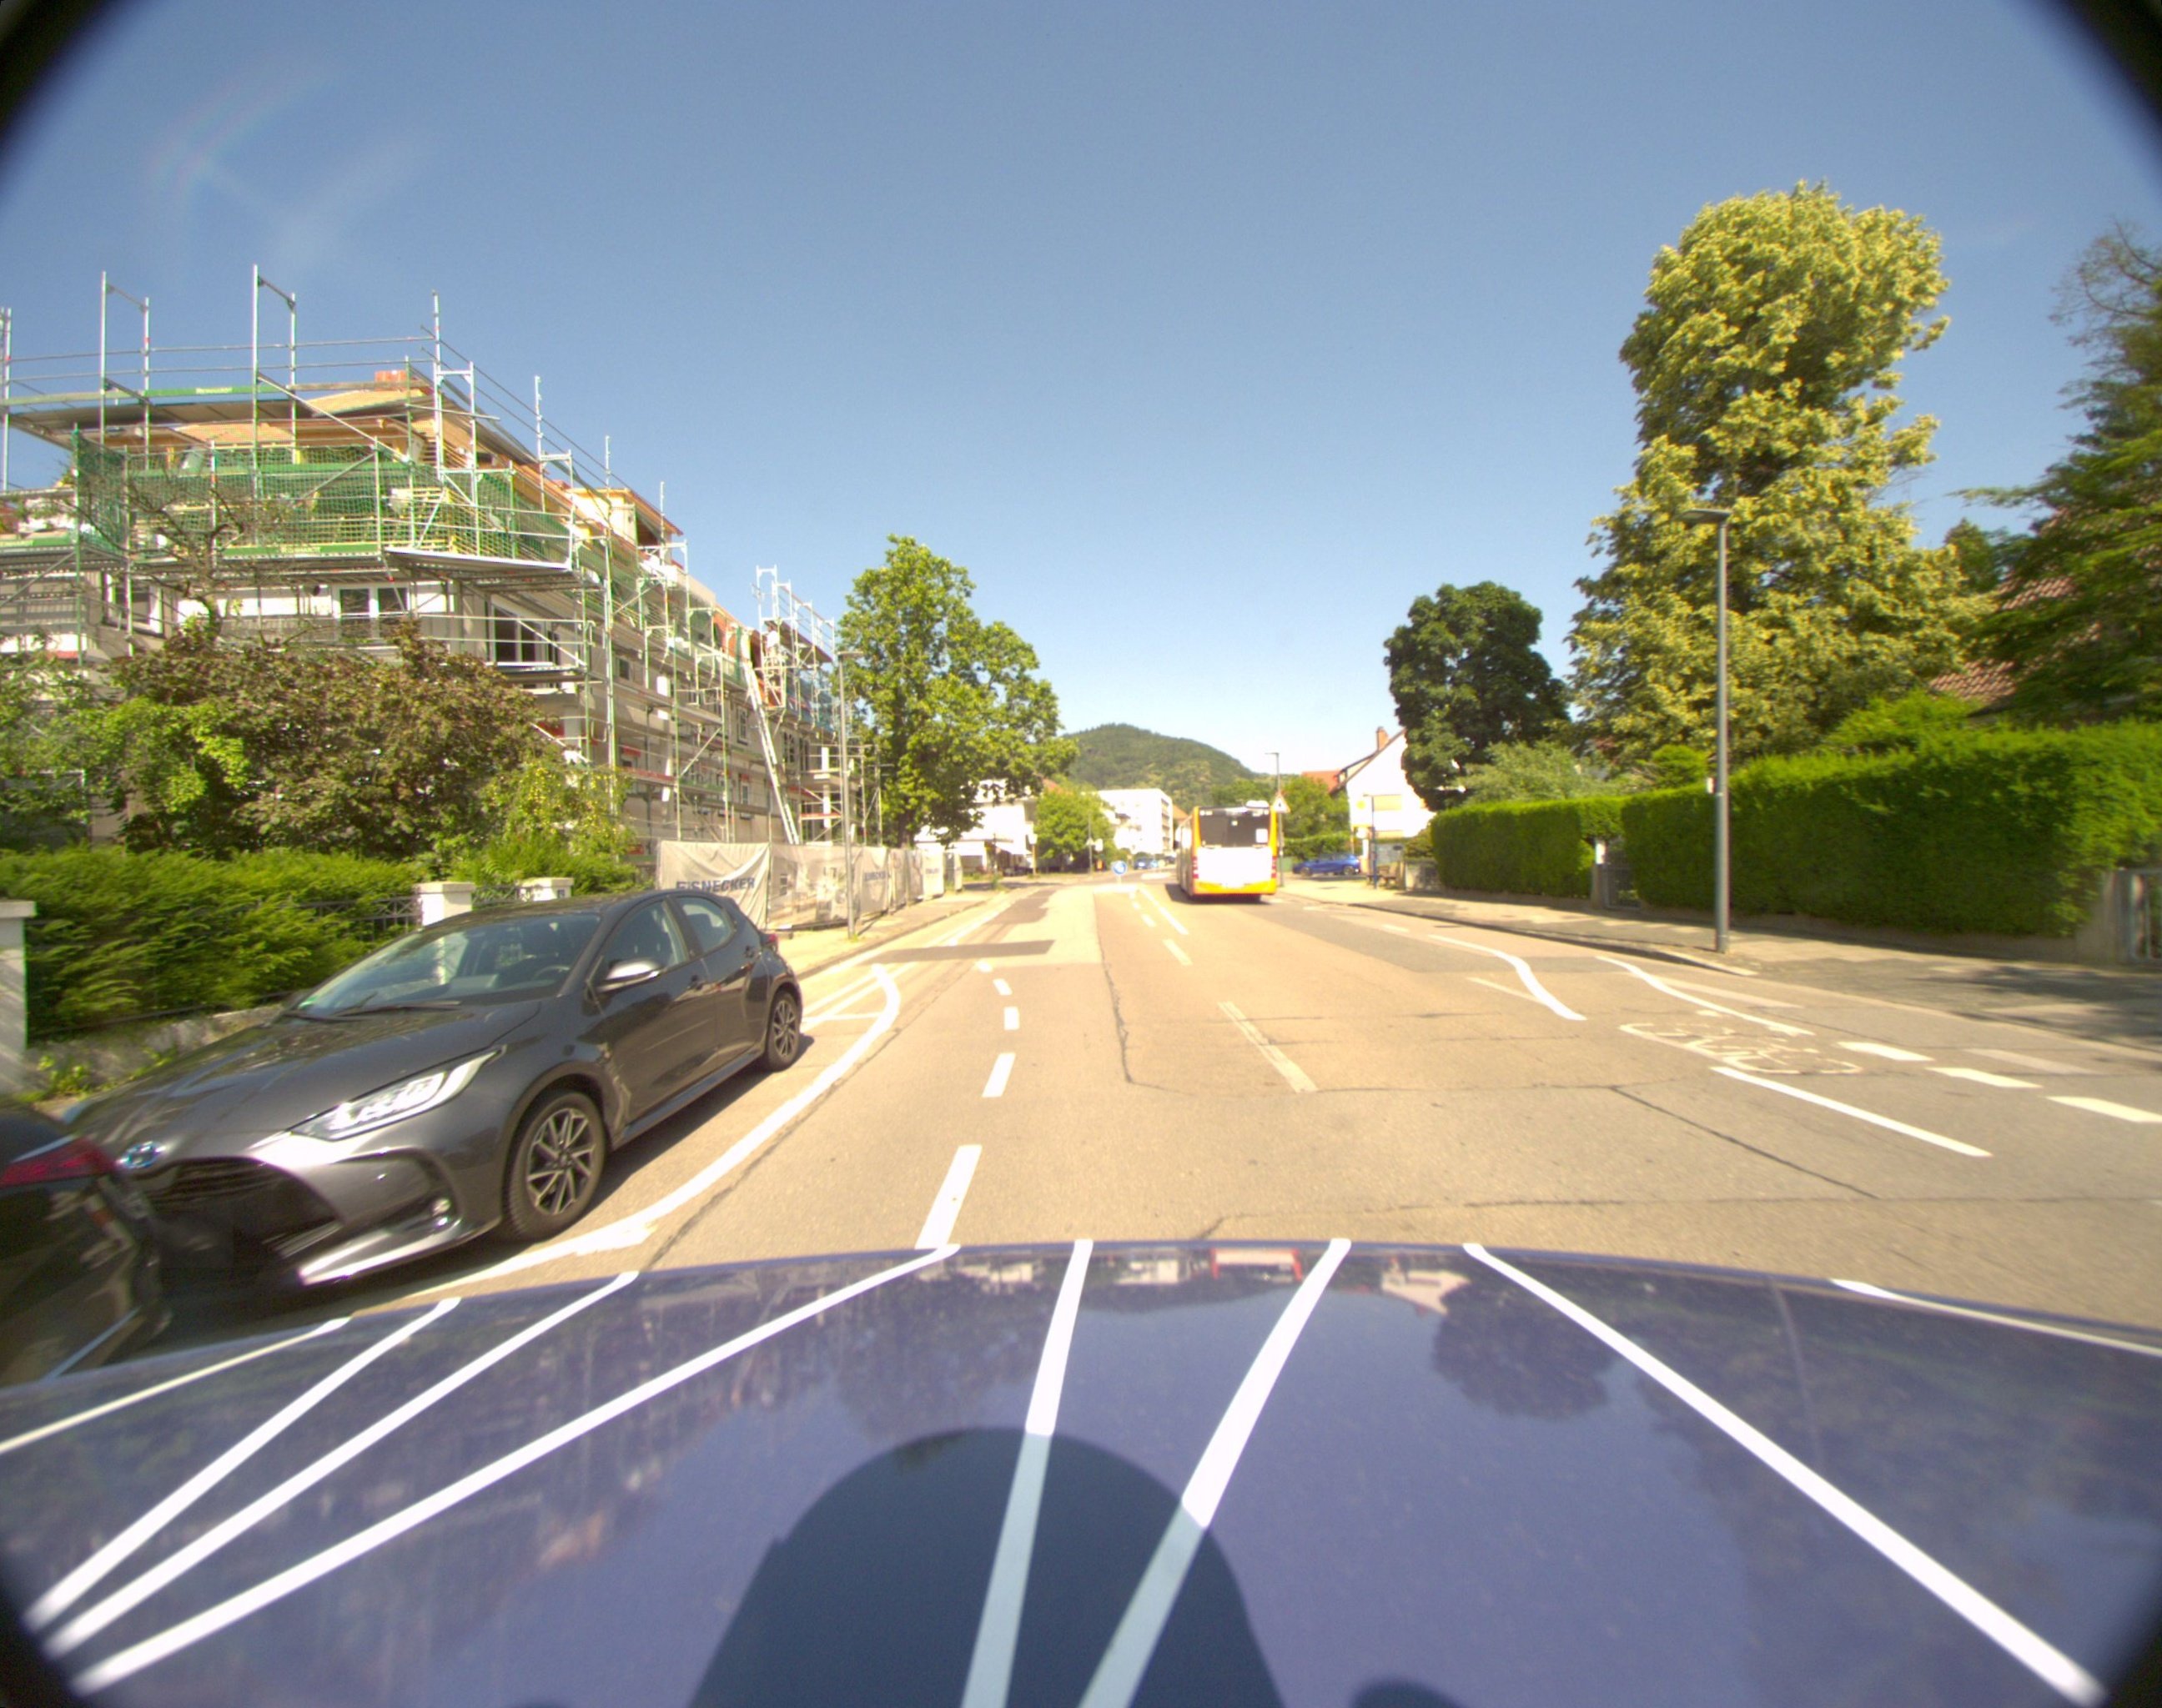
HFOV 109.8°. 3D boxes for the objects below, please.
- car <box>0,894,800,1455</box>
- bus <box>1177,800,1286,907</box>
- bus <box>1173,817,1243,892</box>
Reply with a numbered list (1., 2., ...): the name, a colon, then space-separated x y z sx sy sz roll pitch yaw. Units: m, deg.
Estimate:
1. car: -3.163 1.119 4.245 1.662 1.467 3.787 -5 0 0
2. bus: 5.085 0.001 27.503 2.751 3.155 9.781 0 0 5
3. bus: 5.996 0.033 37.242 2.751 3.155 9.782 0 0 6
